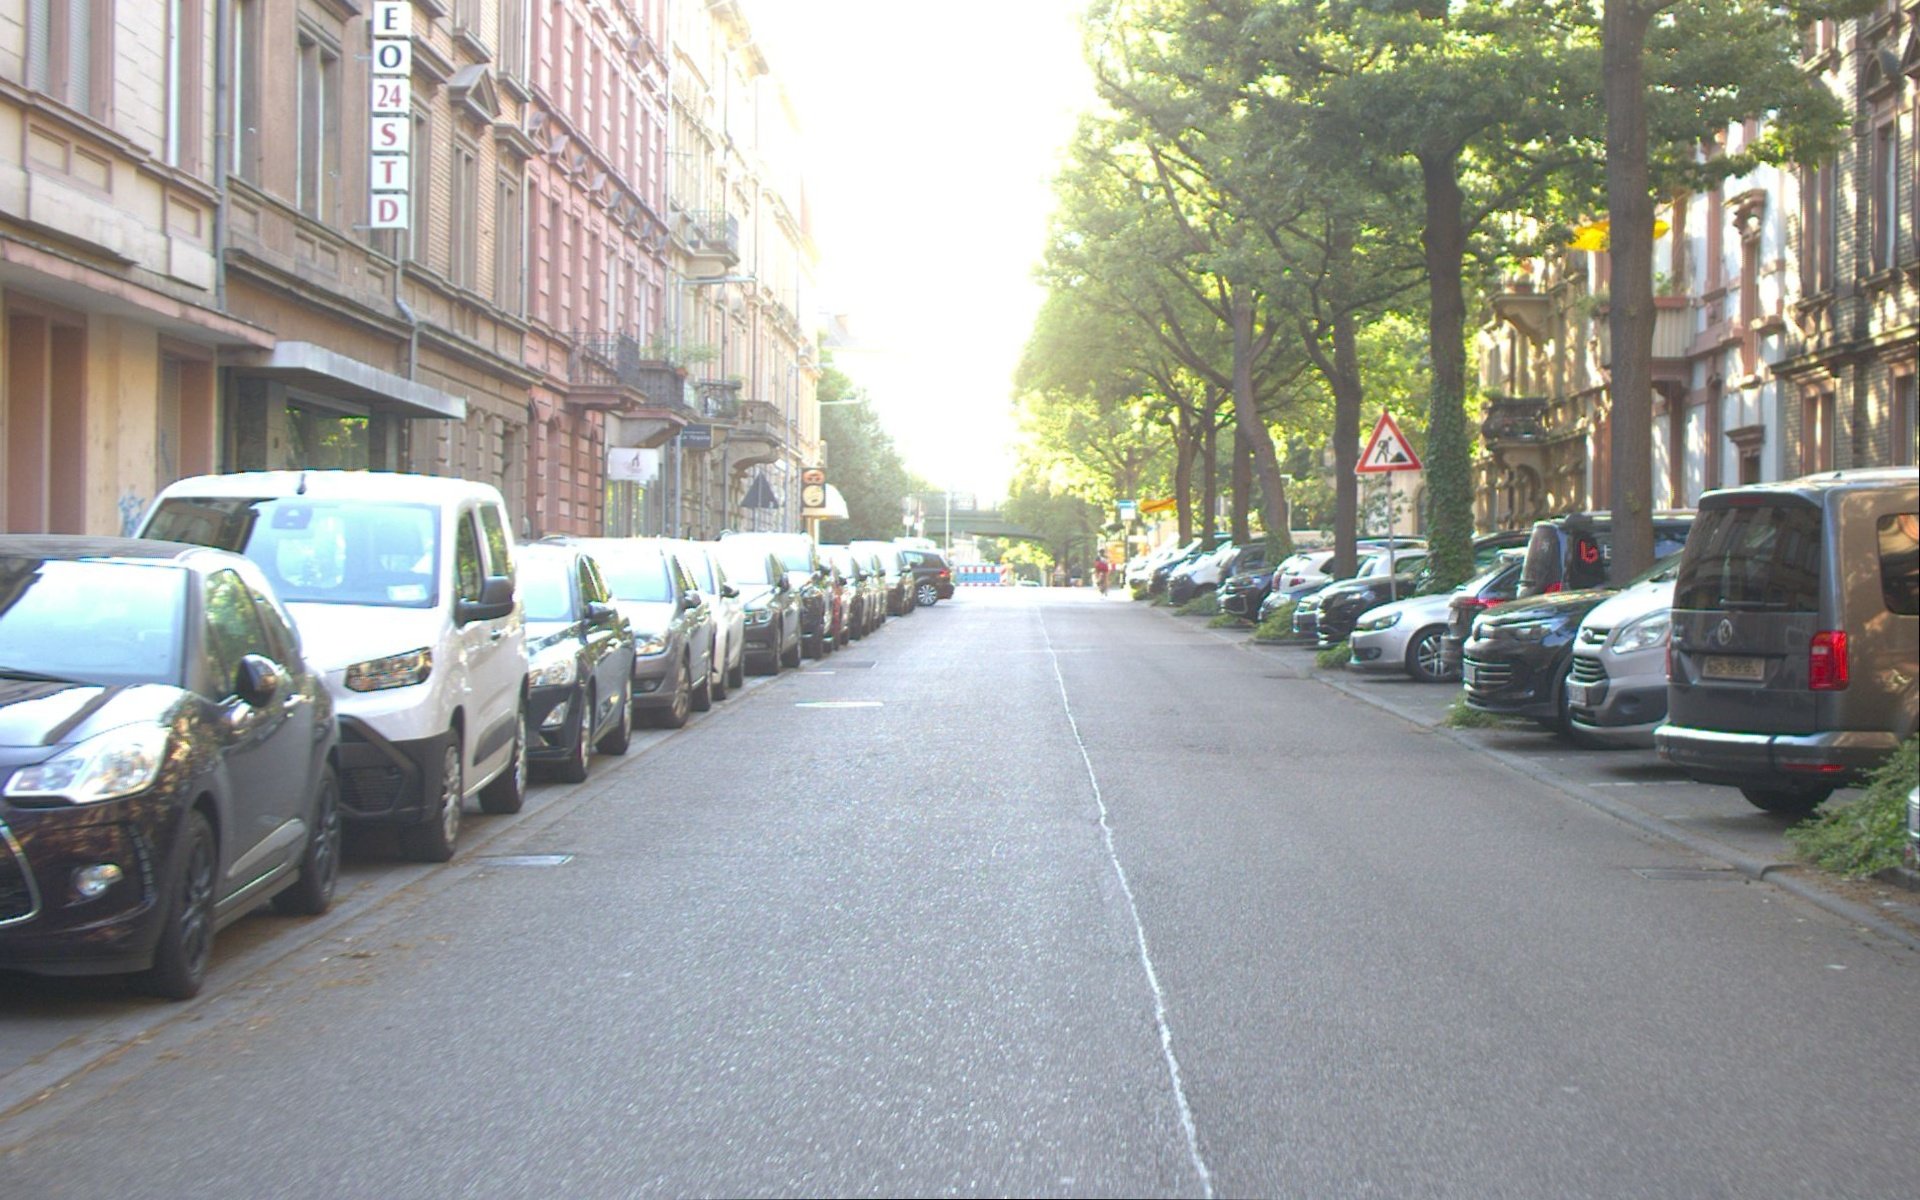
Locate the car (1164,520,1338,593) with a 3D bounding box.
[{"bbox_3d":[6.731,-1.015,79.711,3.850,1.568,1.718,-1,1,0],"label":"car"}]

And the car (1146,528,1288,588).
[{"bbox_3d":[7.224,-1.195,97.015,3.850,1.568,1.718,-1,1,0],"label":"car"}]

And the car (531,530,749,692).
[{"bbox_3d":[-3.027,0.063,33.209,1.758,1.468,4.059,0,1,0],"label":"car"}]

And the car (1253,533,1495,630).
[{"bbox_3d":[7.190,-0.338,59.924,3.849,1.568,1.718,-2,1,-7],"label":"car"}]

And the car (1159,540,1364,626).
[{"bbox_3d":[5.844,-0.344,66.922,3.850,1.568,1.718,-1,1,1],"label":"car"}]

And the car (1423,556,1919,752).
[{"bbox_3d":[5.486,0.369,25.318,3.850,1.289,1.718,-1,1,-2],"label":"car"}]

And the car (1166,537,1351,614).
[{"bbox_3d":[6.476,-0.539,74.827,3.850,1.568,1.718,-1,1,0],"label":"car"}]

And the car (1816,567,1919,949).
[{"bbox_3d":[5.629,0.536,13.078,4.220,1.398,1.835,-1,1,-3],"label":"car"}]

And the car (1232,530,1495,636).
[{"bbox_3d":[6.418,-0.285,54.925,3.849,1.568,1.718,-2,1,-7],"label":"car"}]

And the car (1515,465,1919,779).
[{"bbox_3d":[6.311,0.089,22.434,5.057,1.919,1.835,-1,1,1],"label":"car"}]

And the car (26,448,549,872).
[{"bbox_3d":[-3.190,0.221,17.186,1.758,1.835,4.530,0,1,0],"label":"car"}]

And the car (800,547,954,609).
[{"bbox_3d":[-2.081,-0.534,87.199,1.997,1.481,3.992,0,-1,33],"label":"car"}]

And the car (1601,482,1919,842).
[{"bbox_3d":[5.837,0.247,18.710,4.220,1.789,1.836,-2,1,-18],"label":"car"}]

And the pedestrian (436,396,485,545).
[{"bbox_3d":[-6.291,-1.633,43.310,0.499,1.855,0.463,1,1,1],"label":"pedestrian"}]

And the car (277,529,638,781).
[{"bbox_3d":[-3.126,0.286,22.127,1.758,1.468,4.059,0,1,0],"label":"car"}]

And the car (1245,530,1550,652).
[{"bbox_3d":[6.026,-0.141,47.597,3.849,1.568,1.718,-2,1,-7],"label":"car"}]

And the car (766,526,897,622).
[{"bbox_3d":[-2.081,-0.400,56.725,1.993,1.481,4.000,0,-1,0],"label":"car"}]

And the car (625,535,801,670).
[{"bbox_3d":[-2.780,-0.007,39.457,1.758,1.468,4.059,0,1,0],"label":"car"}]

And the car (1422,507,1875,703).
[{"bbox_3d":[6.433,0.029,32.371,3.850,1.694,1.718,-1,1,-2],"label":"car"}]

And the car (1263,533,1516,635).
[{"bbox_3d":[7.137,-0.282,57.314,3.849,1.568,1.718,-2,1,-7],"label":"car"}]

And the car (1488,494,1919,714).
[{"bbox_3d":[6.717,0.012,30.100,3.850,1.791,1.718,-1,1,-2],"label":"car"}]

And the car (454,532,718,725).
[{"bbox_3d":[-3.006,0.181,28.339,1.758,1.468,4.059,0,1,0],"label":"car"}]

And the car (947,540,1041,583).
[{"bbox_3d":[1.542,-1.762,155.972,3.988,1.853,1.750,2,1,9],"label":"car"}]

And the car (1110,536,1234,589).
[{"bbox_3d":[6.767,-1.206,110.028,3.850,1.568,1.718,-1,1,0],"label":"car"}]

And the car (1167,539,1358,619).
[{"bbox_3d":[6.335,-0.456,72.249,3.850,1.568,1.718,-1,1,0],"label":"car"}]

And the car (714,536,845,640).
[{"bbox_3d":[-2.623,-0.208,50.712,1.758,1.468,4.059,0,1,0],"label":"car"}]

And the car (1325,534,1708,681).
[{"bbox_3d":[6.047,0.063,37.638,3.850,1.474,1.718,-1,1,-2],"label":"car"}]

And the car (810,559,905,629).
[{"bbox_3d":[-2.260,-0.120,76.868,1.993,1.481,4.000,0,-1,0],"label":"car"}]

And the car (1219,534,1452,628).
[{"bbox_3d":[6.741,-0.347,61.970,3.849,1.568,1.718,-2,1,-7],"label":"car"}]

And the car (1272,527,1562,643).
[{"bbox_3d":[6.618,-0.232,49.991,3.849,1.568,1.718,-2,1,-7],"label":"car"}]

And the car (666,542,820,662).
[{"bbox_3d":[-2.742,-0.012,44.223,1.758,1.468,4.059,0,1,0],"label":"car"}]

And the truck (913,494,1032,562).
[{"bbox_3d":[0.813,-4.511,216.675,7.223,3.936,2.437,2,1,-35],"label":"truck"}]

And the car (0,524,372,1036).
[{"bbox_3d":[-3.309,0.483,12.144,1.758,1.462,4.000,2,1,0],"label":"car"}]
